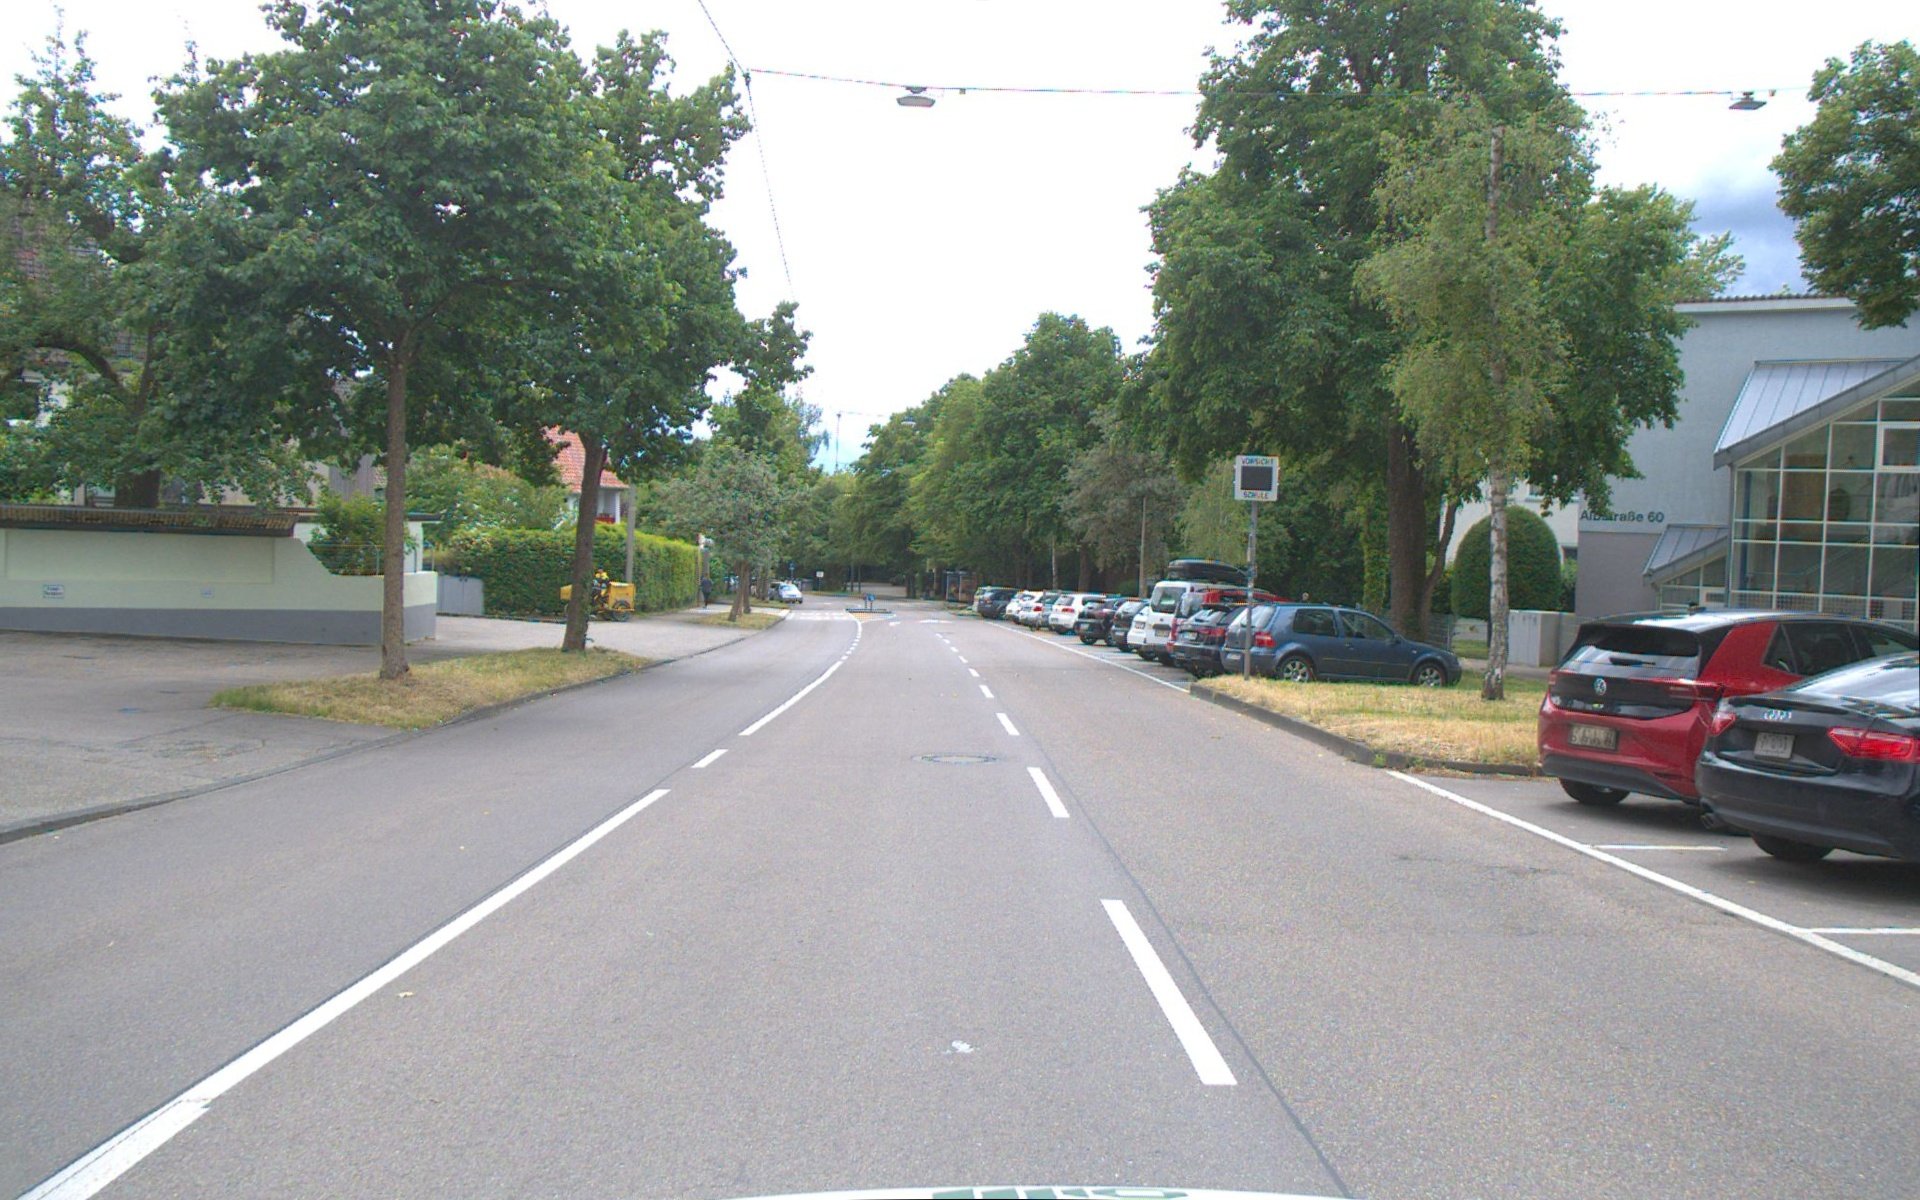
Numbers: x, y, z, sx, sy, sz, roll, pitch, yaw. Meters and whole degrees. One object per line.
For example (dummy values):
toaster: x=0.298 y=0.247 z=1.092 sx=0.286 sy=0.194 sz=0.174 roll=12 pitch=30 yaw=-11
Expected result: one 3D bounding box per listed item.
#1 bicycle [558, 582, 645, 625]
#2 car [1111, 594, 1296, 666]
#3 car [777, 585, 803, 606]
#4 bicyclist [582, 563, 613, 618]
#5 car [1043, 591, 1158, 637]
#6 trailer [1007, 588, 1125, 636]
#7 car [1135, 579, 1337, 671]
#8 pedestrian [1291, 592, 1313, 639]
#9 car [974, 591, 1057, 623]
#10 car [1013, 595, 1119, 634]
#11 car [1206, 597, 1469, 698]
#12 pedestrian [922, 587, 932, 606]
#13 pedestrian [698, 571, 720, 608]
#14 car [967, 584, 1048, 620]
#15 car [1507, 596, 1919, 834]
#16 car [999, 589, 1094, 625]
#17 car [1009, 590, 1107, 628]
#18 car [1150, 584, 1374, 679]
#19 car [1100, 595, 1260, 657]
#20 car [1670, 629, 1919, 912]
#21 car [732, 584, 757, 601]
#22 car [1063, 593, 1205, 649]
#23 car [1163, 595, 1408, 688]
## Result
bicycle: x=-11.602 y=0.106 z=53.537 sx=2.617 sy=1.288 sz=0.838 roll=2 pitch=1 yaw=-32
car: x=5.806 y=0.712 z=39.575 sx=3.903 sy=1.474 sz=1.910 roll=3 pitch=0 yaw=-16
car: x=-12.889 y=-0.352 z=125.424 sx=1.832 sy=1.496 sz=3.993 roll=1 pitch=0 yaw=-8
bicyclist: x=-11.708 y=-0.317 z=53.452 sx=0.704 sy=1.727 sz=0.839 roll=2 pitch=1 yaw=-31
car: x=5.148 y=0.514 z=60.573 sx=3.831 sy=1.474 sz=1.732 roll=2 pitch=0 yaw=-23
trailer: x=4.008 y=0.467 z=62.777 sx=4.093 sy=1.600 sz=1.702 roll=3 pitch=0 yaw=-21
car: x=6.005 y=0.542 z=35.907 sx=4.039 sy=1.785 sz=1.771 roll=3 pitch=0 yaw=-28
pedestrian: x=11.949 y=0.545 z=57.782 sx=0.636 sy=1.631 sz=0.744 roll=1 pitch=0 yaw=4
car: x=2.813 y=0.349 z=83.800 sx=3.828 sy=1.454 sz=1.733 roll=2 pitch=0 yaw=-21
car: x=4.209 y=0.576 z=65.470 sx=3.836 sy=1.332 sz=1.730 roll=2 pitch=0 yaw=-26
car: x=6.286 y=0.785 z=27.630 sx=3.900 sy=1.430 sz=1.749 roll=3 pitch=0 yaw=-16
pedestrian: x=-2.830 y=-0.281 z=141.307 sx=0.725 sy=1.597 sz=0.652 roll=1 pitch=0 yaw=10
pedestrian: x=-12.280 y=-0.520 z=81.000 sx=0.955 sy=1.761 sz=0.848 roll=1 pitch=0 yaw=-5
car: x=2.474 y=0.112 z=86.580 sx=3.828 sy=1.697 sz=1.733 roll=2 pitch=0 yaw=-21
car: x=6.334 y=0.817 z=12.540 sx=4.016 sy=1.542 sz=1.721 roll=2 pitch=0 yaw=-23
car: x=3.869 y=0.319 z=73.825 sx=3.828 sy=1.454 sz=1.733 roll=2 pitch=0 yaw=-21
car: x=4.200 y=0.377 z=71.257 sx=3.828 sy=1.454 sz=1.733 roll=2 pitch=0 yaw=-21
car: x=6.007 y=0.621 z=33.017 sx=3.934 sy=1.648 sz=1.876 roll=3 pitch=0 yaw=-17
car: x=5.911 y=0.699 z=44.504 sx=3.829 sy=1.474 sz=1.833 roll=3 pitch=0 yaw=-21
car: x=6.560 y=0.961 z=9.687 sx=4.241 sy=1.364 sz=1.727 roll=3 pitch=0 yaw=-15
car: x=-19.988 y=-0.735 z=153.501 sx=1.835 sy=1.496 sz=3.986 roll=1 pitch=0 yaw=-14
car: x=5.196 y=0.625 z=49.424 sx=3.835 sy=1.474 sz=1.830 roll=2 pitch=0 yaw=-25
car: x=5.870 y=0.747 z=29.891 sx=3.967 sy=1.430 sz=1.747 roll=3 pitch=0 yaw=-19
